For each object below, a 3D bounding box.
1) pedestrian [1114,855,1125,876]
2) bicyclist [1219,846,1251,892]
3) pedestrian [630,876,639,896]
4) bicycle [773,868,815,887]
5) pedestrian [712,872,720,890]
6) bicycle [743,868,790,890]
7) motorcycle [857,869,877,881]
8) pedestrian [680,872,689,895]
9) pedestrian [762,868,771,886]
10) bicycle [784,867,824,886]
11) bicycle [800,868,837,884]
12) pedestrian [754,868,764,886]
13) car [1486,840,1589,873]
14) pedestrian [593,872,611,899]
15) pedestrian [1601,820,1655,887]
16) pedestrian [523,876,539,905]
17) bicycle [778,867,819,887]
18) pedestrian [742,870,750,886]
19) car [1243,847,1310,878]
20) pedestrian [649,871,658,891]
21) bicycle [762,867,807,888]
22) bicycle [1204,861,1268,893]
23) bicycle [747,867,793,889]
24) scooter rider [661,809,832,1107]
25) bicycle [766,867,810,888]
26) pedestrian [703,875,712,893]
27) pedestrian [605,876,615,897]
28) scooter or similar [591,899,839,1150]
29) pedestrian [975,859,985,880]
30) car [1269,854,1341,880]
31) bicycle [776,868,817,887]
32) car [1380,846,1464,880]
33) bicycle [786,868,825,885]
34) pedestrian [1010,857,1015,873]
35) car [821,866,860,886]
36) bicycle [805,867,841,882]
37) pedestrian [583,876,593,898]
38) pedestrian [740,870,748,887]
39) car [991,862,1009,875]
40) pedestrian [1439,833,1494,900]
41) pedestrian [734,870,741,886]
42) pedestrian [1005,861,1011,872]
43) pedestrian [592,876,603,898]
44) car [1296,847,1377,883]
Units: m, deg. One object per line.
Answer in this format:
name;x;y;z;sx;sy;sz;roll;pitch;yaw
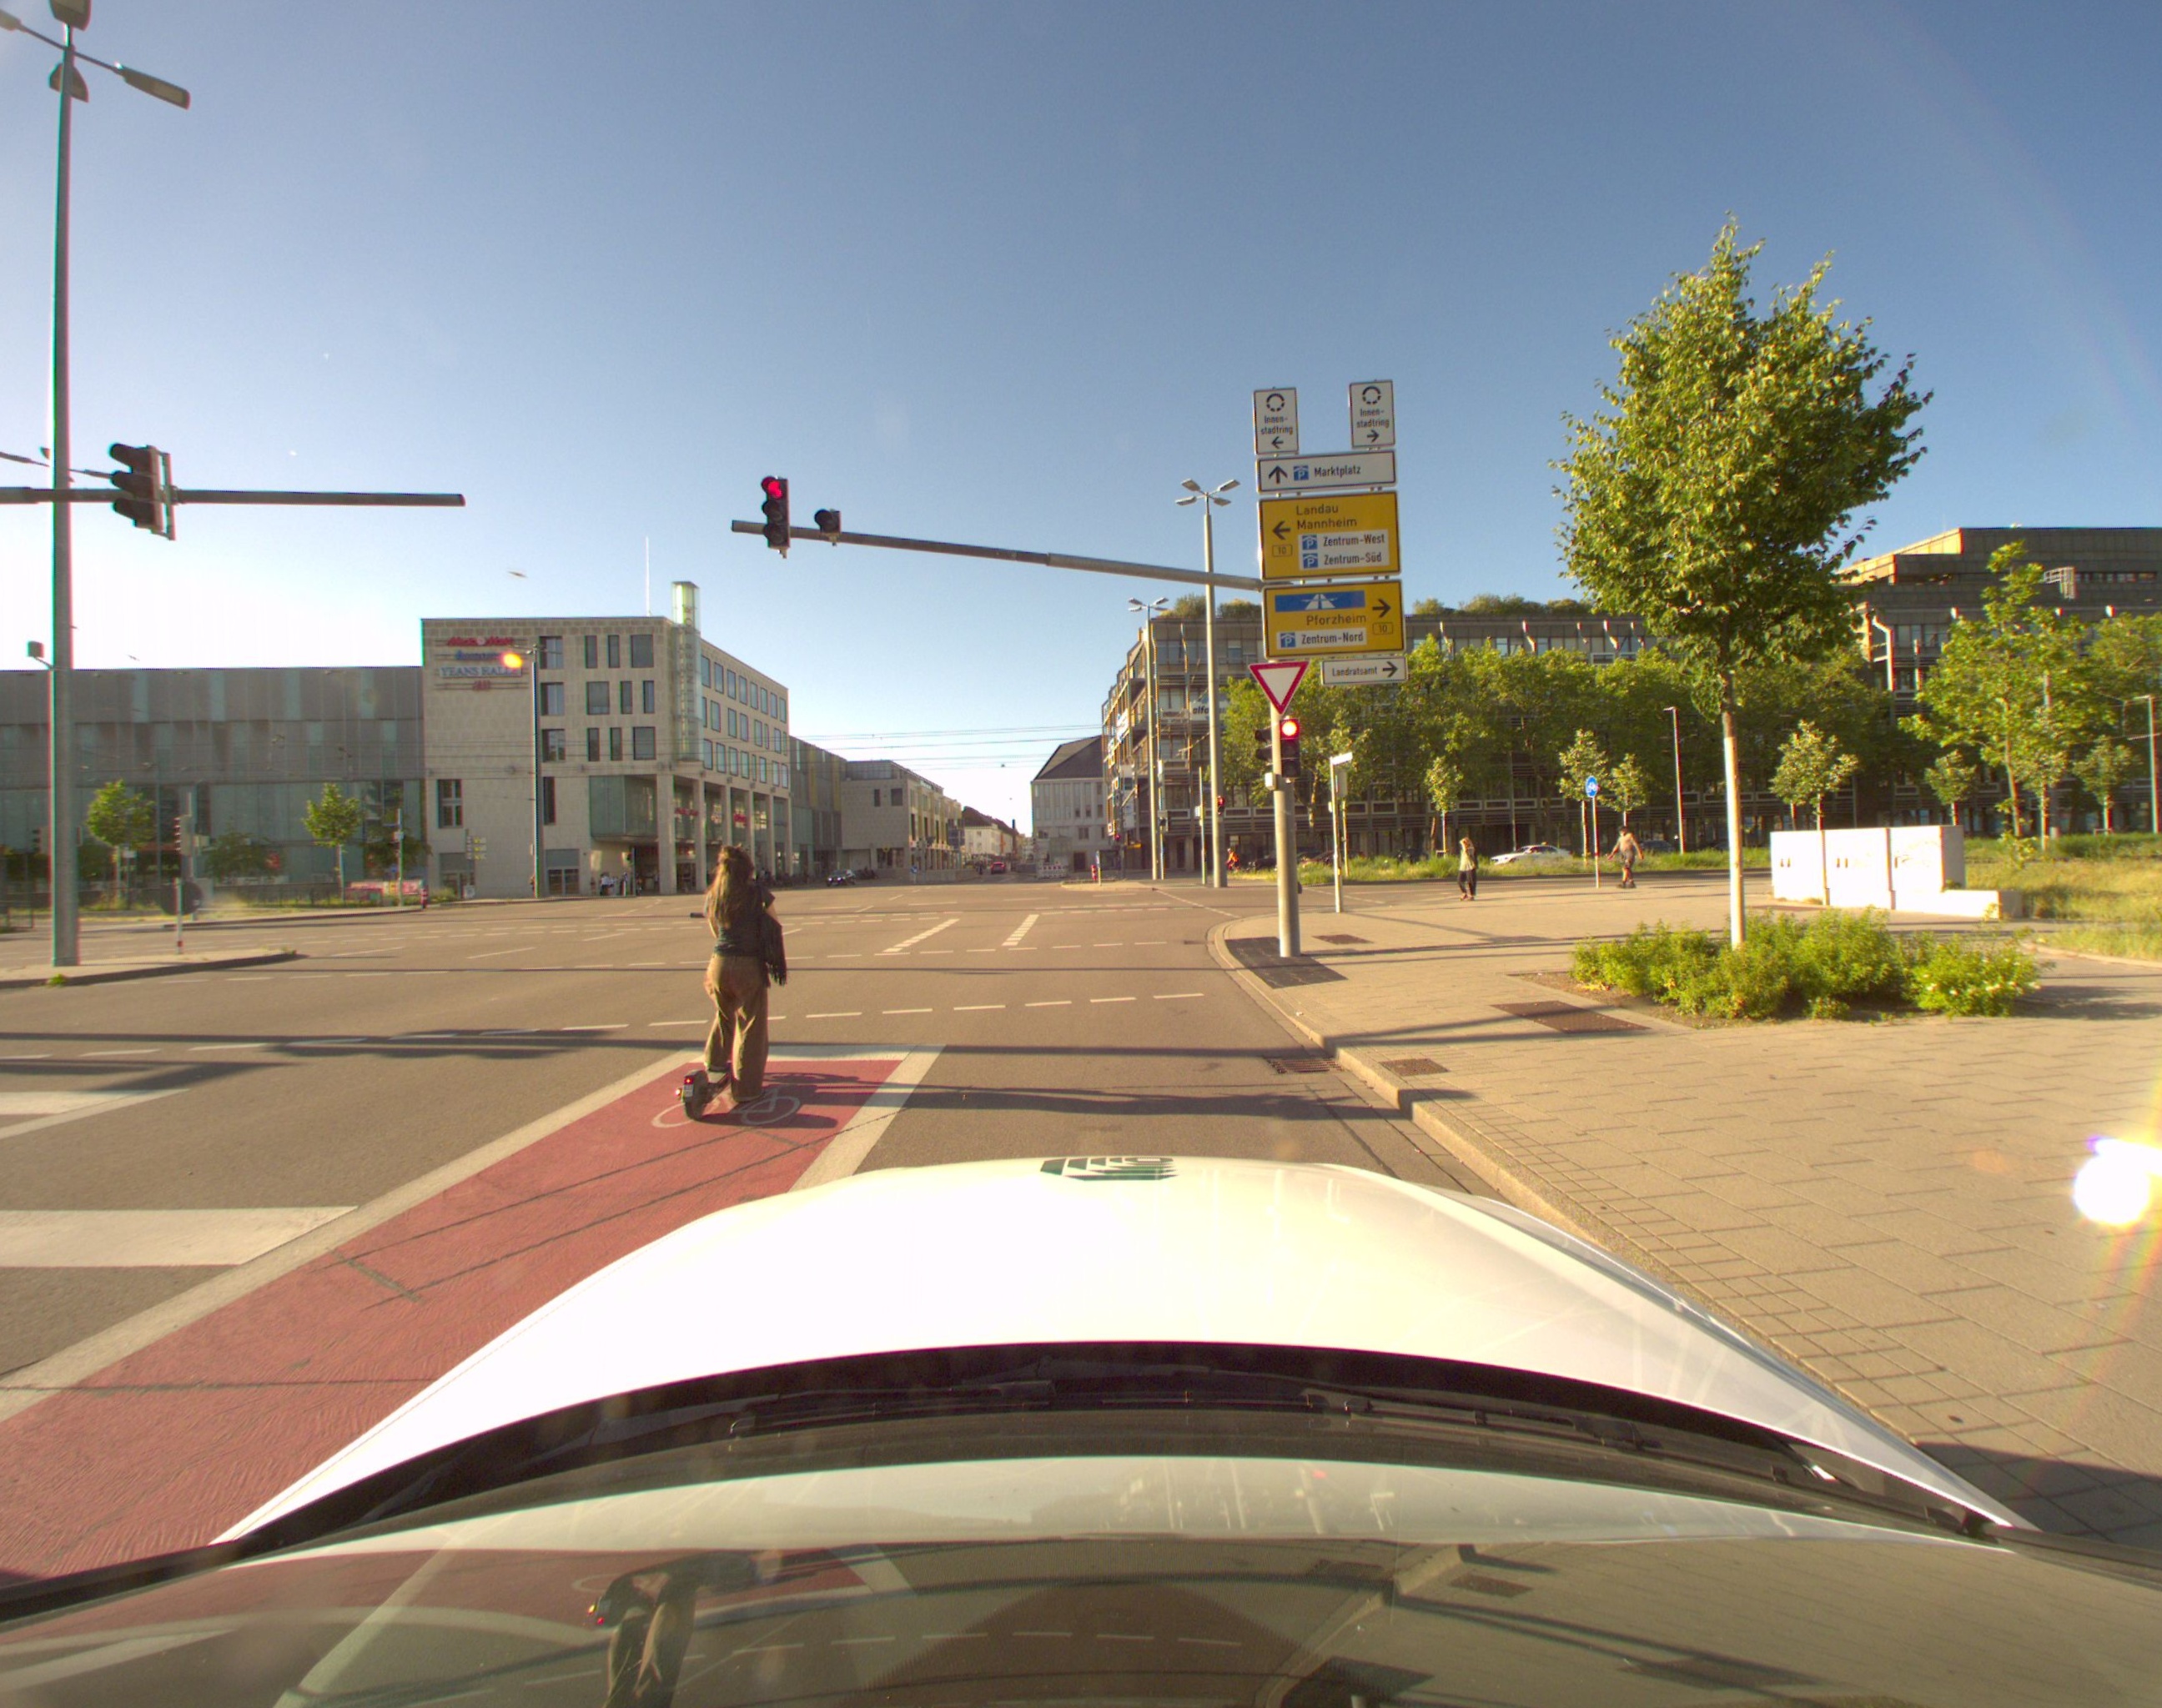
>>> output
pedestrian;3.095;0.883;65.041;0.728;1.658;0.649;-2;0;-5
bicyclist;8.883;0.854;47.065;1.566;2.580;0.929;-2;0;-7
pedestrian;-32.694;2.310;59.645;0.386;1.426;0.500;-2;0;-12
bicycle;-26.684;2.180;75.755;3.491;1.696;0.984;-2;0;-10
pedestrian;-32.152;2.372;71.711;0.480;1.510;0.513;-2;0;-3
bicycle;-26.735;2.096;69.288;3.488;1.696;1.114;-2;0;-7
motorcycle;-25.972;2.534;98.860;2.269;1.318;0.719;-2;0;-4
pedestrian;-28.935;2.129;59.470;0.543;1.642;0.546;-2;0;-24
pedestrian;-30.348;2.217;78.544;0.652;1.642;0.693;-2;0;-7
bicycle;-27.252;2.233;80.157;3.491;1.696;0.984;-2;0;-10
bicycle;-27.552;2.290;85.575;3.491;1.527;0.984;-2;0;-10
pedestrian;-31.189;2.232;78.994;0.786;1.642;0.691;-2;0;-16
car;28.890;0.142;51.648;5.424;2.014;2.097;0;-1;-1
pedestrian;-33.859;2.224;57.597;0.755;1.798;0.736;-2;0;-3
pedestrian;14.607;-0.001;21.780;0.694;1.728;0.939;-2;0;-12
pedestrian;-32.335;2.152;47.885;0.525;1.694;0.547;-2;0;-5
bicycle;-27.047;2.209;78.061;3.491;1.696;0.984;-2;0;-10
pedestrian;-33.752;2.461;82.036;0.480;1.585;0.598;-2;0;-3
car;12.837;0.559;53.618;3.975;2.014;1.999;0;-1;-1
pedestrian;-35.160;2.241;66.950;0.428;1.585;0.498;-2;0;-3
bicycle;-26.147;2.069;71.949;3.488;1.696;1.114;-2;0;-7
bicycle;8.924;1.314;47.061;3.488;1.659;0.929;-2;0;-7
bicycle;-26.911;2.053;70.448;3.488;1.696;1.114;-2;0;-7
scooter rider;-2.130;0.623;5.289;0.726;1.775;0.811;-1;0;1
bicycle;-26.323;2.114;73.169;3.488;1.696;1.114;-2;0;-7
pedestrian;-32.528;2.604;70.984;0.480;1.585;0.513;-2;0;-3
pedestrian;-34.240;2.378;59.226;0.421;1.527;0.456;-2;0;-6
scooter or similar;-2.158;0.936;5.078;0.725;1.202;1.665;-1;0;2
pedestrian;-8.144;1.272;65.866;0.661;1.658;0.755;-2;0;-1
car;13.849;0.781;50.469;3.976;1.508;1.867;-1;0;-2
bicycle;-26.860;2.198;76.852;3.491;1.696;0.984;-2;0;-10
car;21.403;0.559;51.241;4.435;2.014;1.998;0;-1;-4
bicycle;-27.413;2.225;81.154;3.491;1.527;0.984;-2;0;-10
pedestrian;-8.655;1.390;103.239;0.608;2.013;0.569;-2;0;-5
car;-20.773;1.886;70.512;1.986;1.486;4.002;-2;0;2
bicycle;-27.657;2.211;87.444;3.491;1.527;0.984;-2;0;-10
pedestrian;-35.265;2.353;58.305;0.421;1.501;0.456;-2;0;-9
pedestrian;-33.904;2.460;81.965;0.480;1.585;0.598;-2;0;-3
car;-10.795;1.881;108.855;2.195;1.607;4.320;-2;0;-4
pedestrian;9.811;0.317;20.754;0.801;1.630;0.939;-2;0;-12
pedestrian;-33.032;2.314;78.275;0.480;1.510;0.513;-2;0;-3
pedestrian;-9.241;1.556;103.036;0.608;1.411;0.569;-2;0;-5
pedestrian;-34.803;2.397;58.632;0.420;1.565;0.457;-2;0;2
car;14.450;0.617;46.203;3.975;2.014;1.999;0;-1;-1
